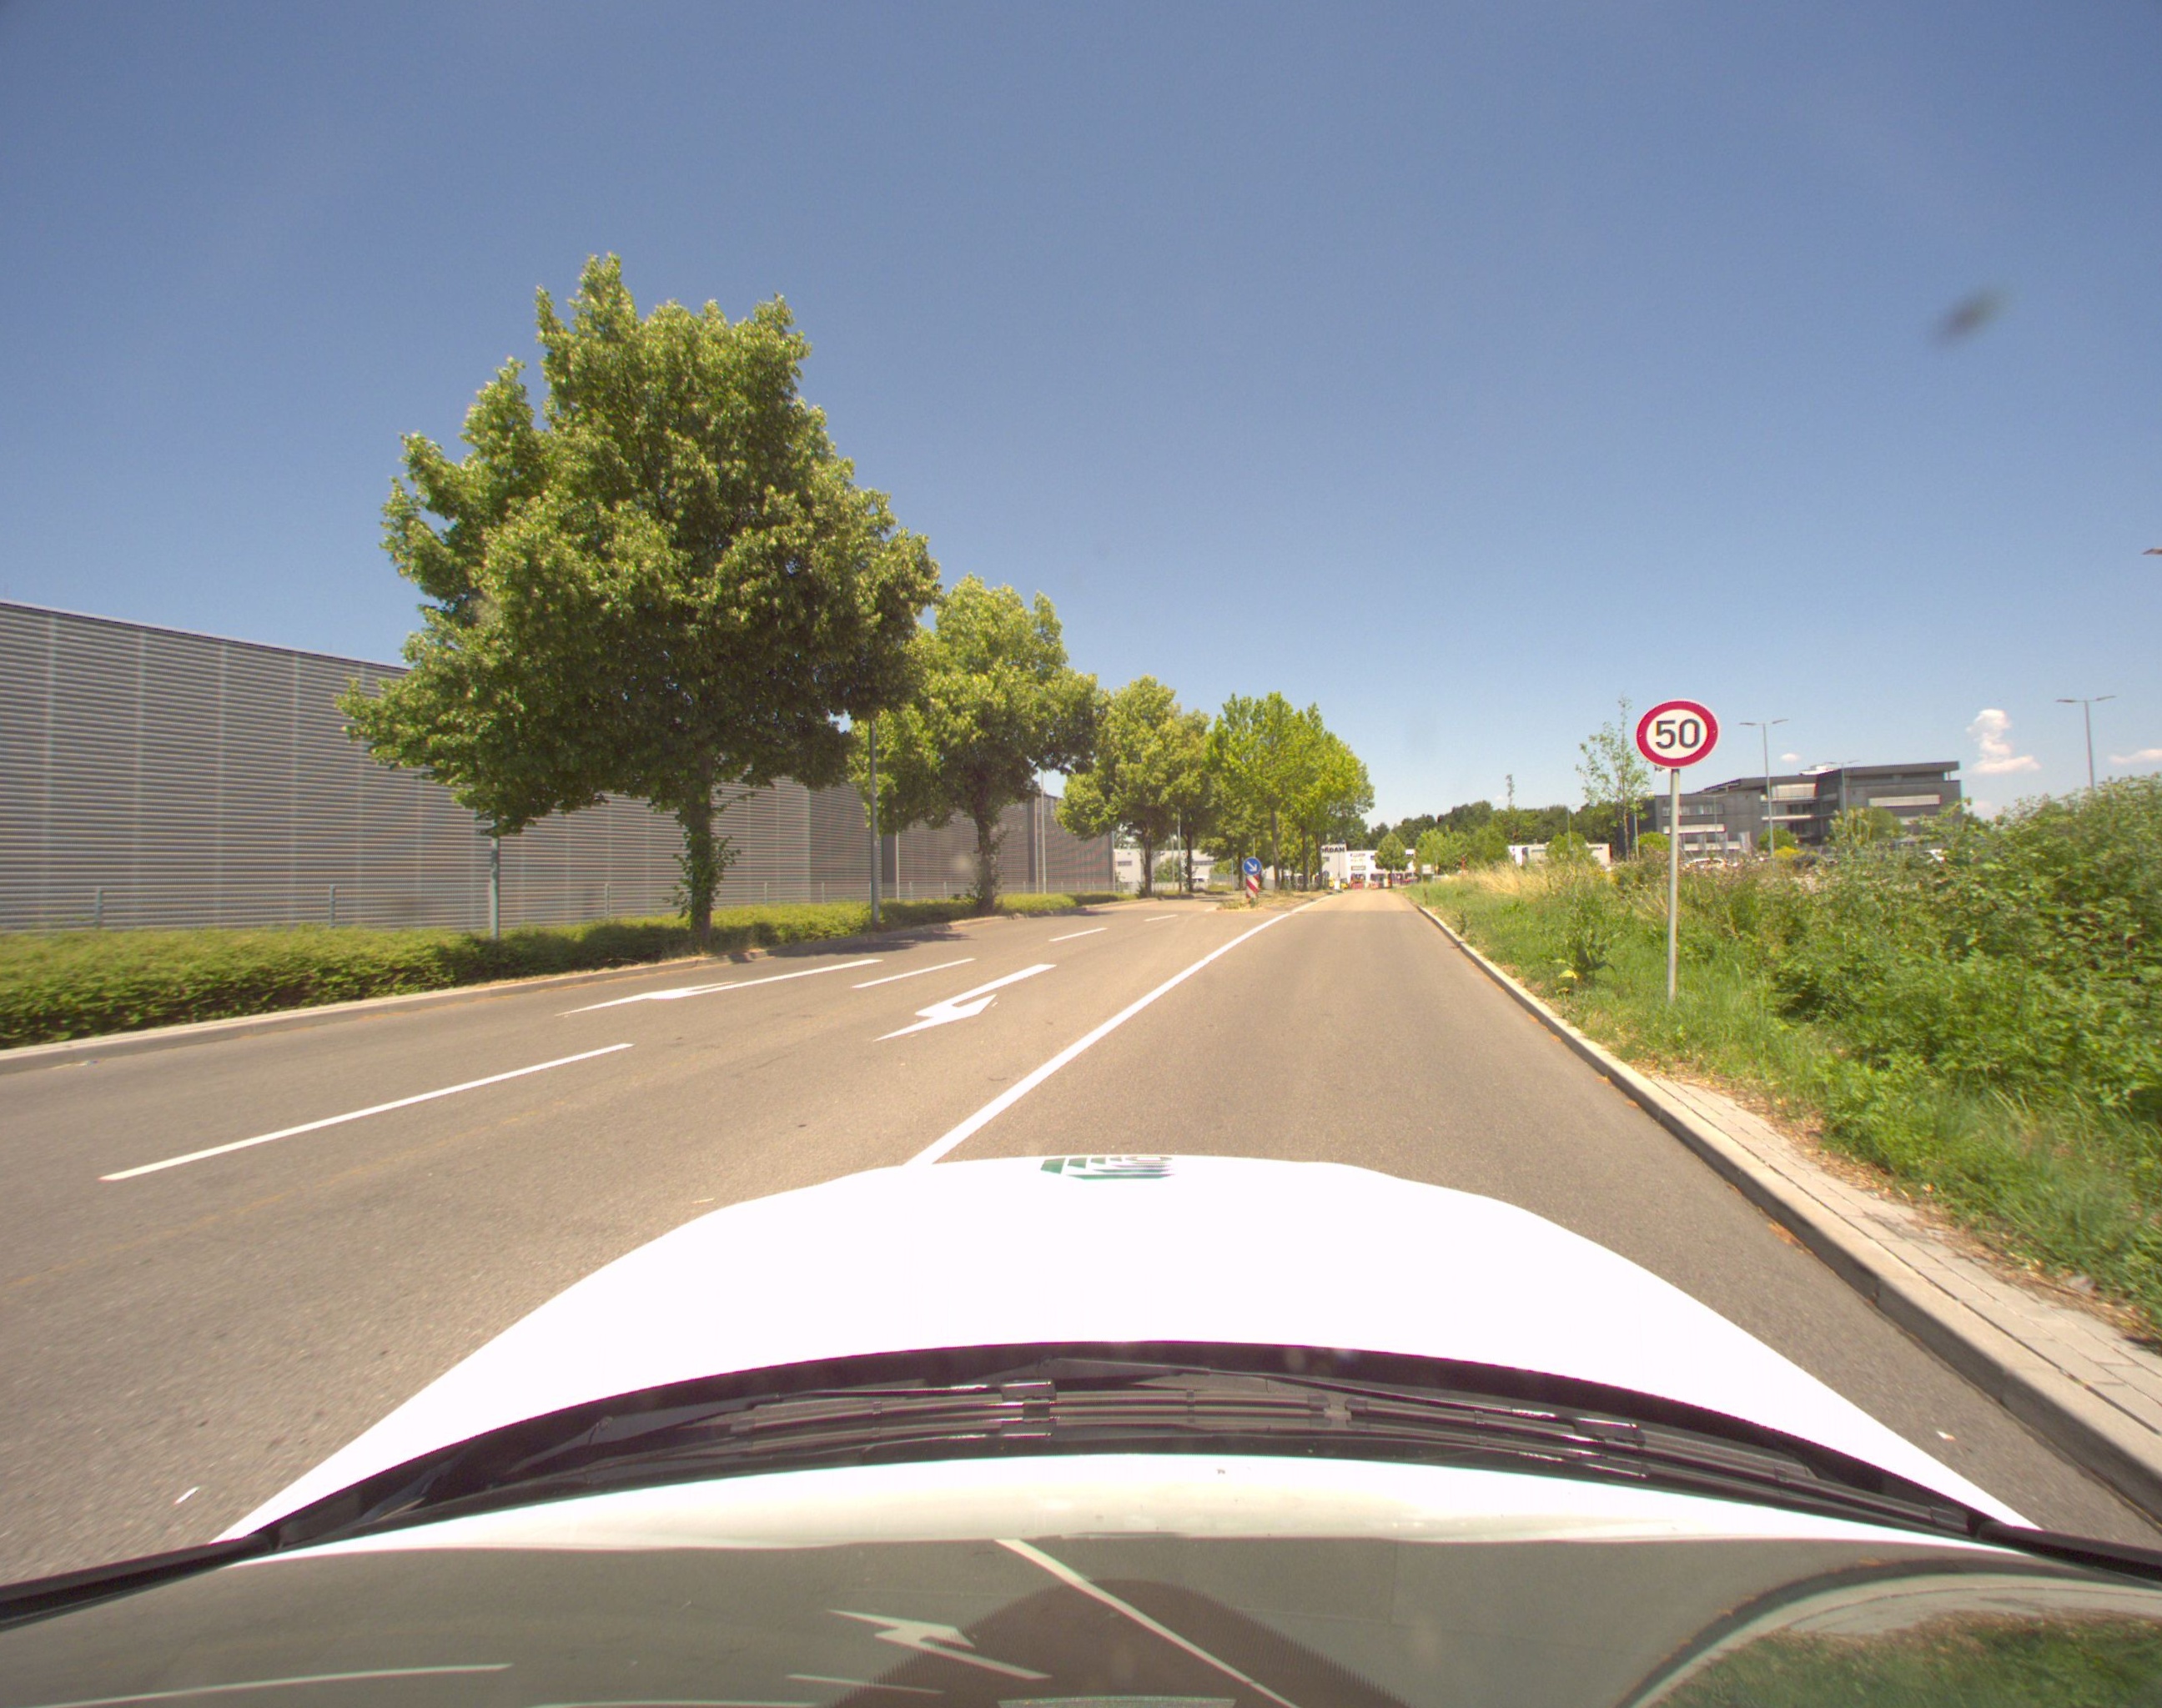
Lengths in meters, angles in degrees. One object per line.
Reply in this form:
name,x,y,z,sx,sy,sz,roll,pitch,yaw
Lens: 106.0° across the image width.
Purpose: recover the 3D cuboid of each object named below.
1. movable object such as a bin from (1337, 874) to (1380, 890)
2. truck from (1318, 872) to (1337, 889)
movable object such as a bin,54.959,5.540,161.416,7.455,2.500,3.688,-4,0,28
truck,49.311,5.281,163.048,2.919,2.886,5.828,-4,0,11
